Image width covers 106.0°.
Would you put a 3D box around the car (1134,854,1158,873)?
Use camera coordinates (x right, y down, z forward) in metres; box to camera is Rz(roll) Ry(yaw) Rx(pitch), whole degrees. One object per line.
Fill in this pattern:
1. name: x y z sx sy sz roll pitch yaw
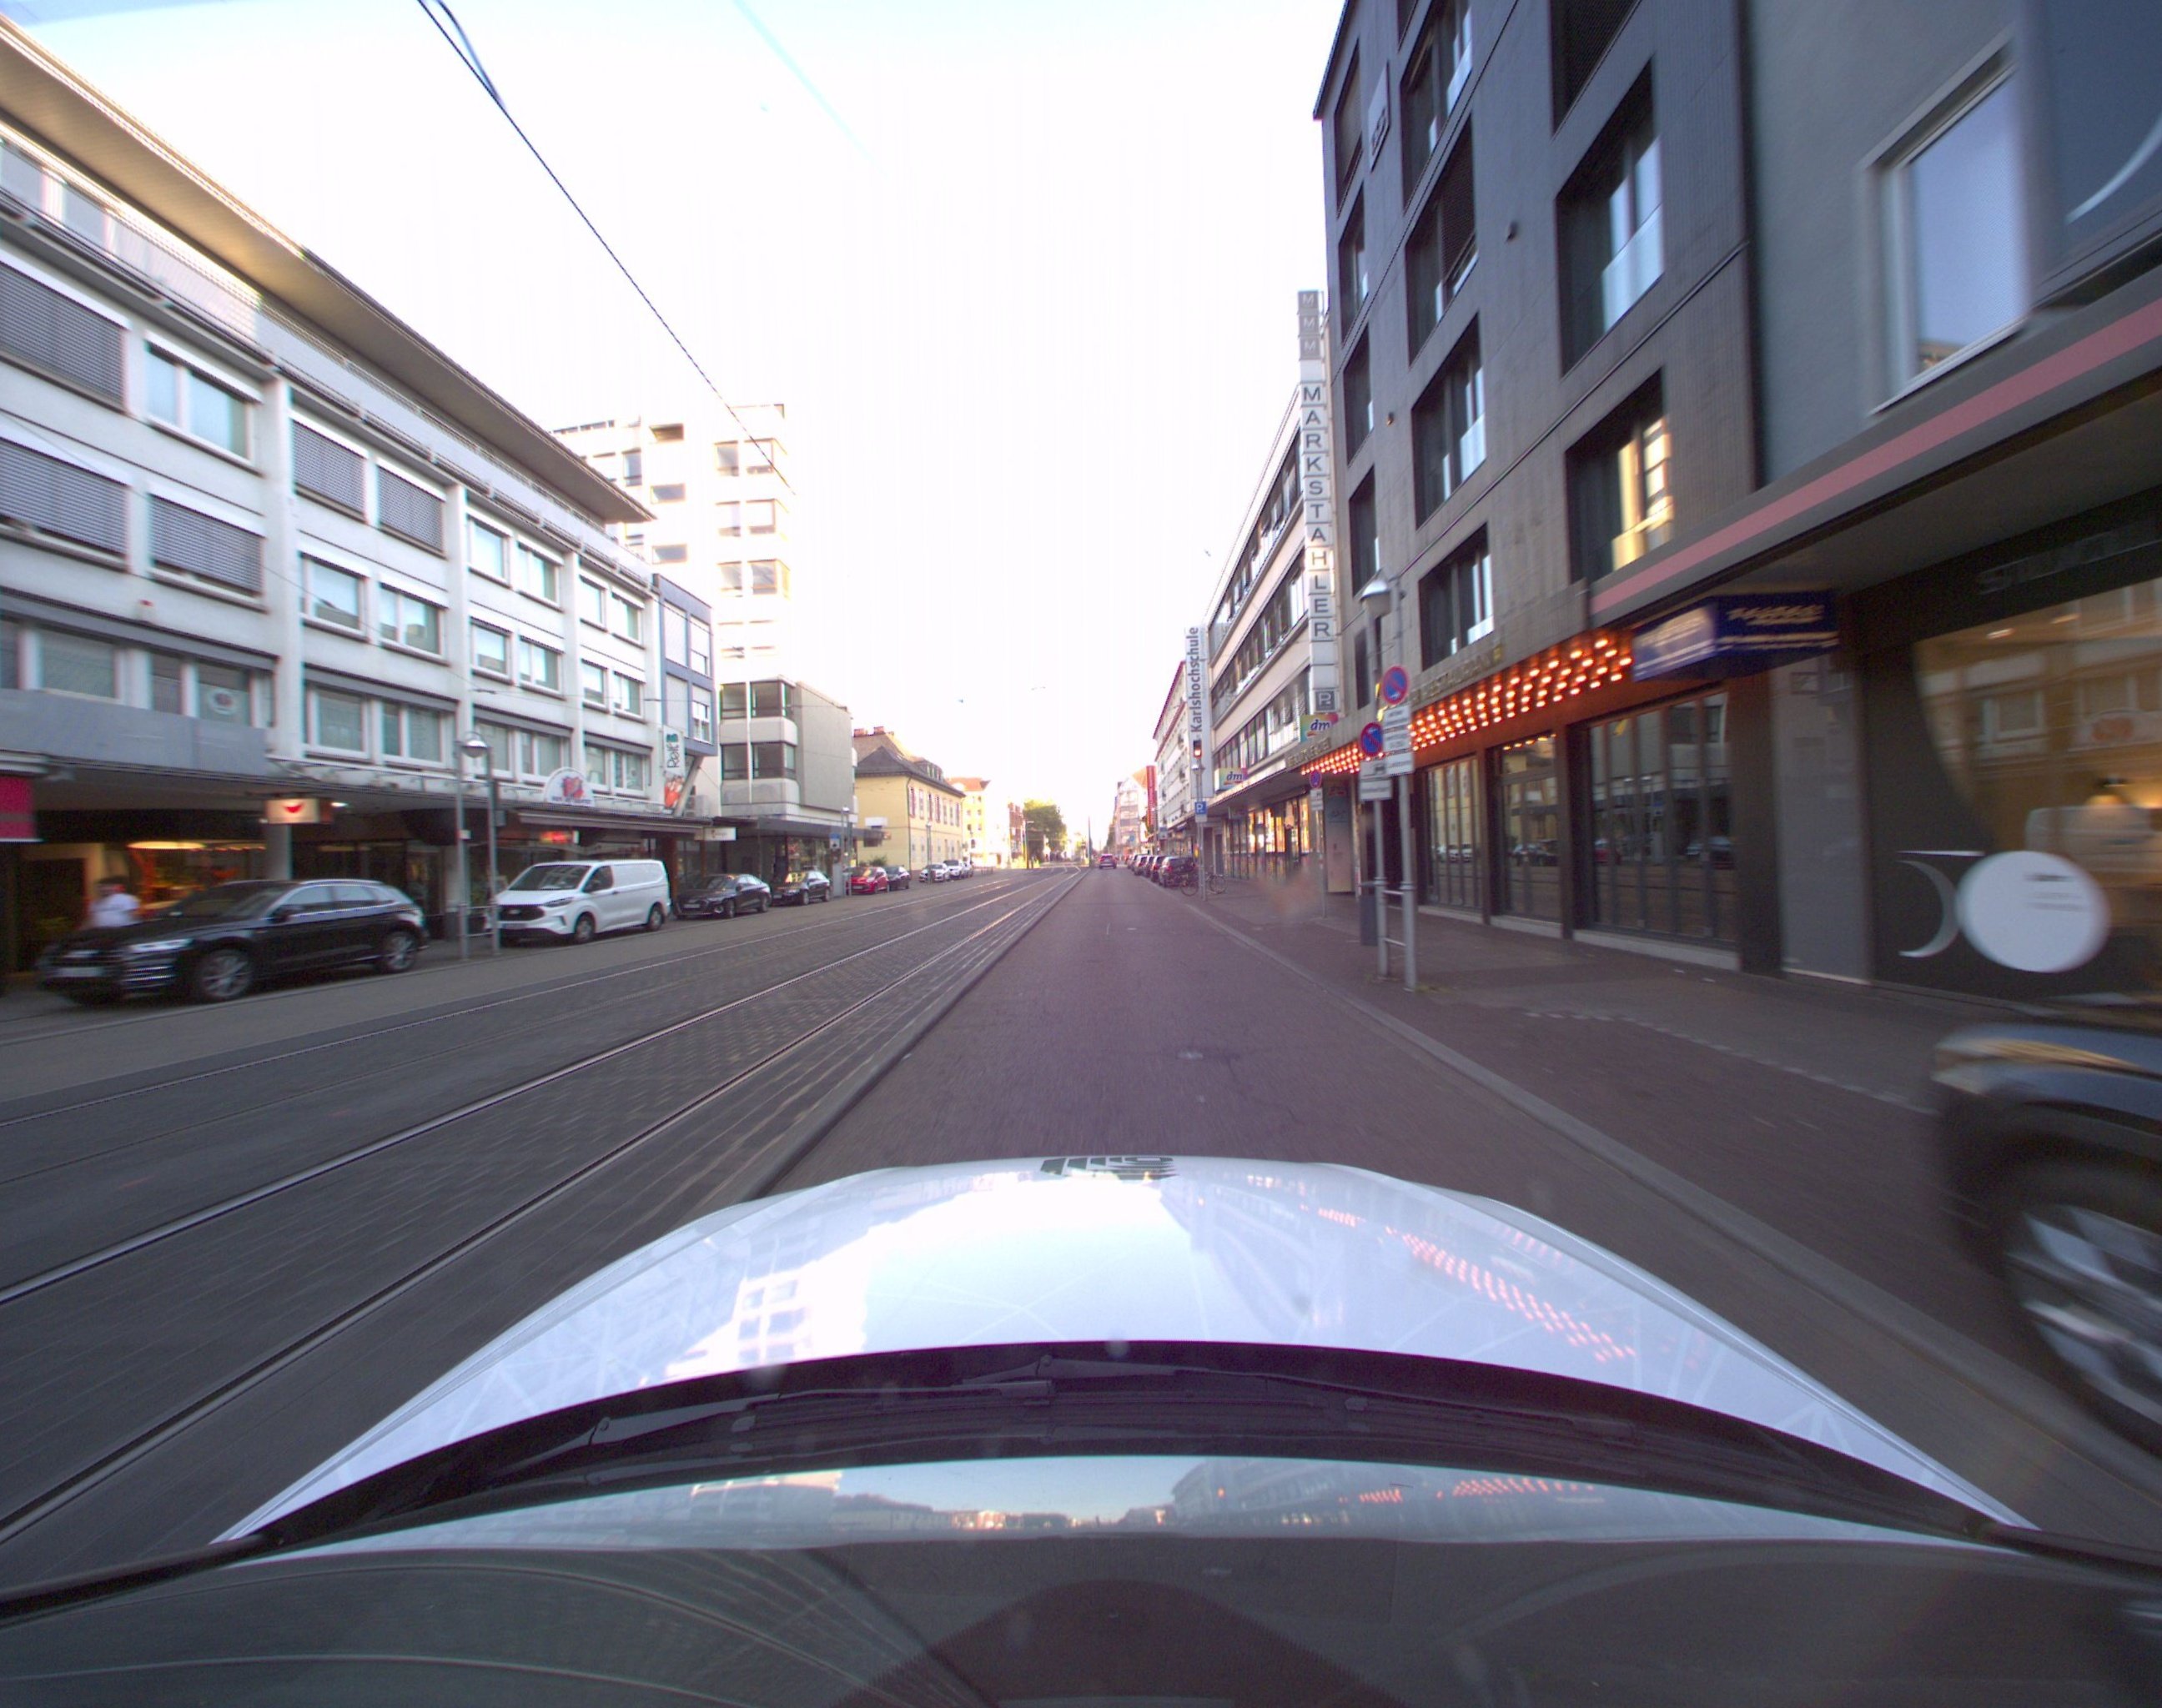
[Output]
1. car: 5.410 0.789 68.202 1.774 1.522 4.358 0 0 2

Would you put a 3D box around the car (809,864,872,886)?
1. car: -17.287 1.501 58.685 3.975 1.553 1.913 0 -1 -1

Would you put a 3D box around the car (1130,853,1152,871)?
1. car: 5.569 0.746 75.783 1.849 1.701 4.419 0 -1 1

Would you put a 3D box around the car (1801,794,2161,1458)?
1. car: 3.326 0.590 0.805 1.734 1.541 3.966 -2 -1 1

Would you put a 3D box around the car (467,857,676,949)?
1. car: -12.415 1.100 20.357 1.957 2.014 5.100 0 -1 1

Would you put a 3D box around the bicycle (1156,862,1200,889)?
1. bicycle: 4.211 0.942 35.372 1.834 1.110 0.642 -1 -1 -2

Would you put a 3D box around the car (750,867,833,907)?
1. car: -12.058 1.350 34.206 1.783 1.460 4.093 -2 0 2

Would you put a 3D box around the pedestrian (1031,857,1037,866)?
1. pedestrian: -7.976 1.244 137.141 0.900 1.375 0.853 -2 -1 -1

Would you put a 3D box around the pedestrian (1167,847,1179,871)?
1. pedestrian: 7.560 0.401 67.012 0.772 1.880 0.934 -3 -1 0

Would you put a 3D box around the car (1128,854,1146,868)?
1. car: 5.952 0.783 87.051 1.783 1.413 4.688 0 -1 1

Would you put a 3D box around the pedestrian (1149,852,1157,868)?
1. pedestrian: 7.409 0.604 83.789 0.730 1.574 0.967 -2 0 1

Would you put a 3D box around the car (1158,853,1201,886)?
1. car: 4.617 0.736 38.652 1.648 1.463 4.024 0 -1 2

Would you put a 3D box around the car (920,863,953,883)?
1. car: -11.181 1.464 63.096 1.715 1.453 4.284 0 0 1

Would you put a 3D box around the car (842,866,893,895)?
1. car: -11.513 1.411 44.066 1.685 1.434 3.593 -2 0 1

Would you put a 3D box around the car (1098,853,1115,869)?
1. car: 2.927 0.830 92.175 1.828 1.636 4.093 -3 -2 3

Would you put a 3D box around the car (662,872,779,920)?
1. car: -12.158 1.377 27.856 1.865 1.427 4.572 0 -1 2

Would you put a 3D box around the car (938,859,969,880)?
1. car: -10.818 1.296 69.299 1.881 1.661 4.760 0 0 0

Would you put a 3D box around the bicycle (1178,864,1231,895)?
1. bicycle: 4.469 0.922 29.582 1.790 0.972 0.575 -4 0 -2

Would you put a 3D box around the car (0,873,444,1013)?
1. car: -12.754 1.187 12.653 1.986 1.697 4.590 0 -1 2

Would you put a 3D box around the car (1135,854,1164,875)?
1. car: 5.067 0.793 60.893 1.785 1.533 4.857 0 -1 1

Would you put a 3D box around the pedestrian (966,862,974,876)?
1. pedestrian: -12.648 1.724 92.898 0.796 1.542 0.878 0 -1 3

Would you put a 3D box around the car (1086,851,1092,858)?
1. car: 2.414 0.103 248.027 1.948 2.014 4.001 0 -1 2

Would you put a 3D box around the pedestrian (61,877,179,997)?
1. pedestrian: -14.845 1.255 12.606 0.814 1.782 0.818 0 -1 1

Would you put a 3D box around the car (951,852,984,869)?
1. car: -14.427 0.852 103.450 3.994 2.014 1.990 -2 -1 -15

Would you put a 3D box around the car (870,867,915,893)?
1. car: -11.351 1.559 49.198 1.685 1.425 3.966 0 0 2

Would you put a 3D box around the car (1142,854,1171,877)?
1. car: 5.109 0.765 55.301 1.719 1.481 4.001 0 -1 2

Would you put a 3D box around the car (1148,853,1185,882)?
1. car: 4.760 0.757 45.875 1.758 1.513 4.073 0 -1 2

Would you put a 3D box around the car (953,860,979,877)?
1. car: -10.433 1.304 74.071 1.742 1.474 4.001 0 0 1

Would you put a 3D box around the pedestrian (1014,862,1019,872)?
1. pedestrian: -9.163 1.812 116.080 0.662 1.375 0.651 -2 -1 -1
